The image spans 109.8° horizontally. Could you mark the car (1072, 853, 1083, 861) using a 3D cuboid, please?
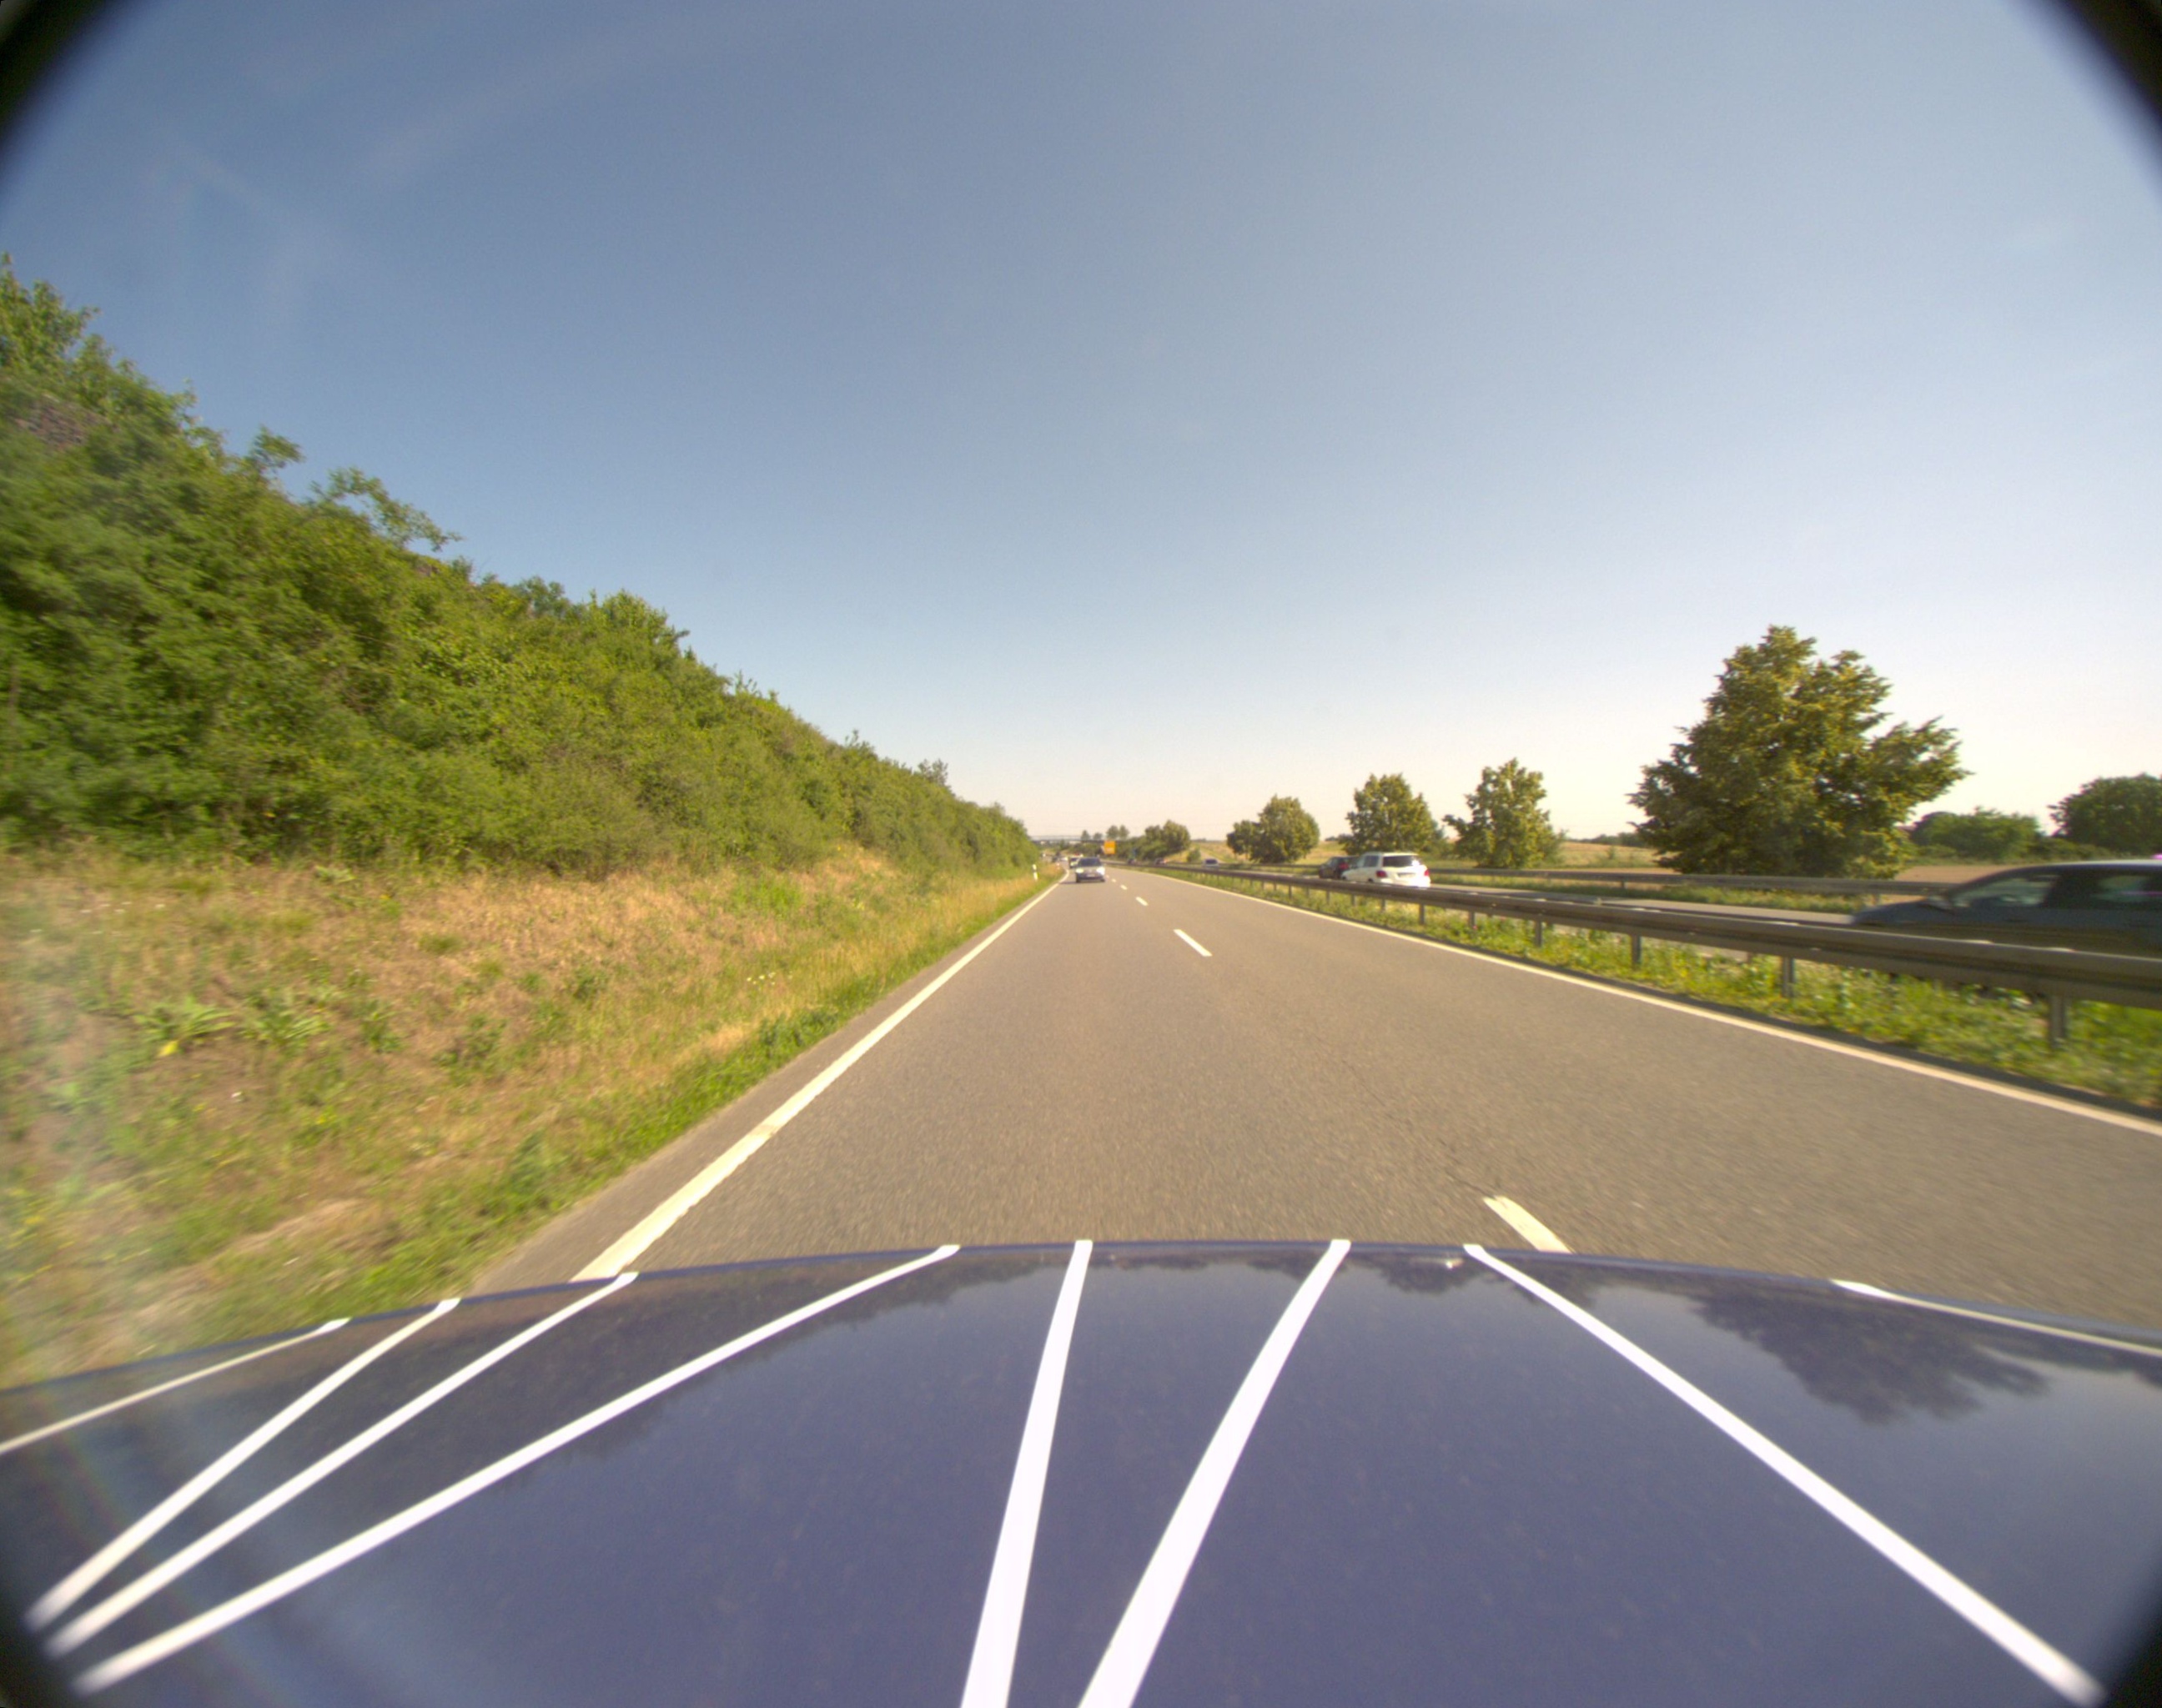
[{"bbox_3d":[-0.593,0.449,130.211,1.790,1.212,3.998,-1,1,-1],"label":"car"}]

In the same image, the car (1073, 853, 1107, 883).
[{"bbox_3d":[0.595,0.840,47.400,1.854,1.635,4.000,-3,1,4],"label":"car"}]

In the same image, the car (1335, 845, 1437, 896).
[{"bbox_3d":[11.006,0.533,27.812,1.843,1.655,4.721,-2,0,1],"label":"car"}]

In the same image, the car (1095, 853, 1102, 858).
[{"bbox_3d":[5.356,0.410,232.245,1.759,1.524,3.999,-3,0,-3],"label":"car"}]

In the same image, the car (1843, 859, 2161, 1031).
[{"bbox_3d":[10.586,0.818,7.596,1.843,1.438,4.038,-3,0,1],"label":"car"}]

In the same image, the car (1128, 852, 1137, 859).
[{"bbox_3d":[11.592,0.312,170.325,1.656,1.544,4.561,-3,0,0],"label":"car"}]

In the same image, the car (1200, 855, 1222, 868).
[{"bbox_3d":[14.876,0.803,87.195,1.694,1.428,3.939,-2,0,-2],"label":"car"}]

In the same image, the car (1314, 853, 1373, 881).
[{"bbox_3d":[14.730,0.700,42.898,1.843,1.463,4.459,-2,0,1],"label":"car"}]

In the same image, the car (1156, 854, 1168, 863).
[{"bbox_3d":[13.897,0.806,130.296,1.694,1.532,4.244,-2,0,2],"label":"car"}]

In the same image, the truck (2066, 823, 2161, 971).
[{"bbox_3d":[14.272,0.488,7.616,1.927,1.829,5.292,-2,0,1],"label":"truck"}]
